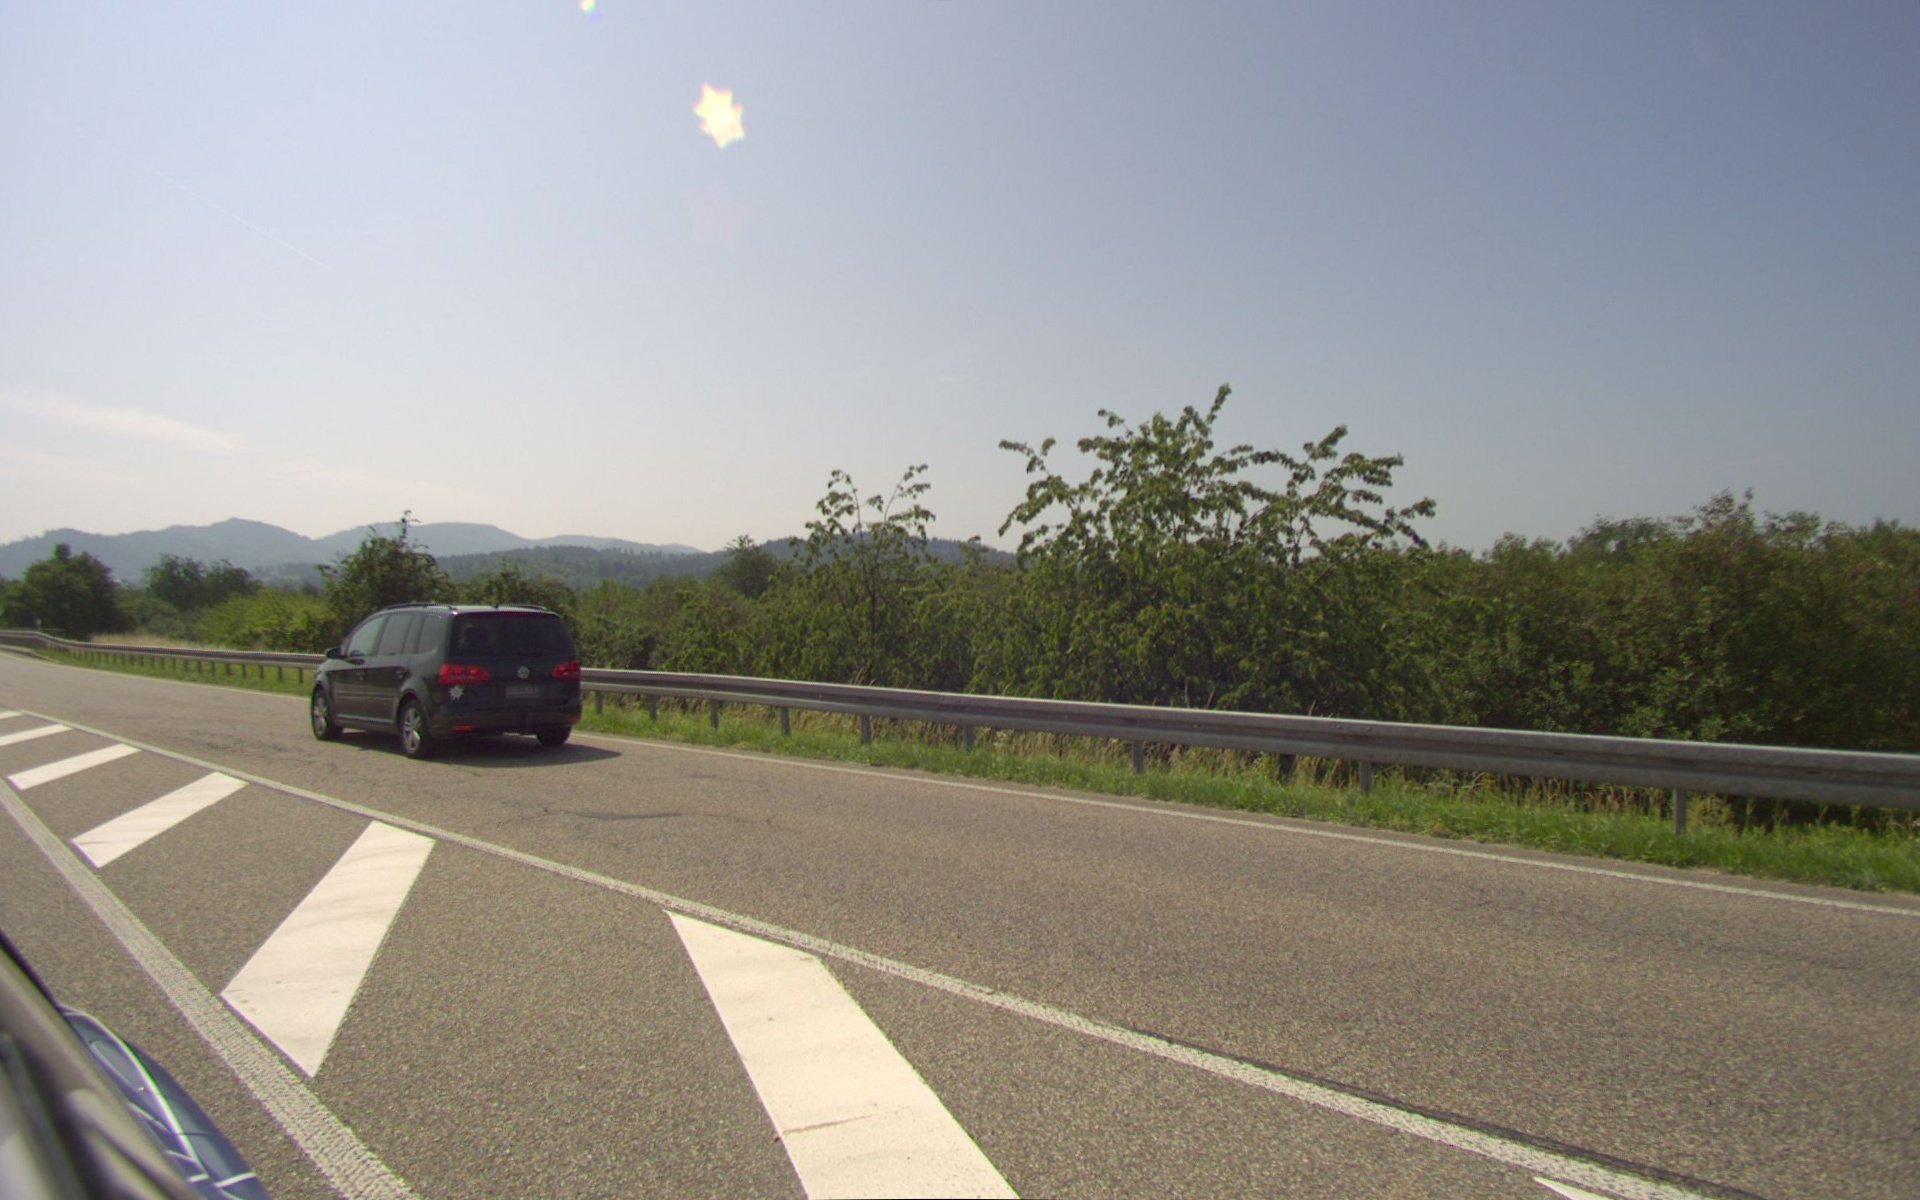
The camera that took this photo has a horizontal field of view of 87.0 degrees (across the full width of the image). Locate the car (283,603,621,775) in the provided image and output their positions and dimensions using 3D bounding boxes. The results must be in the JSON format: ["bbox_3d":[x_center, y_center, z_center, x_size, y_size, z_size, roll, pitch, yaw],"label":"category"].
[{"bbox_3d":[-6.157,0.895,11.990,4.804,1.650,1.786,-1,-1,39],"label":"car"}]
